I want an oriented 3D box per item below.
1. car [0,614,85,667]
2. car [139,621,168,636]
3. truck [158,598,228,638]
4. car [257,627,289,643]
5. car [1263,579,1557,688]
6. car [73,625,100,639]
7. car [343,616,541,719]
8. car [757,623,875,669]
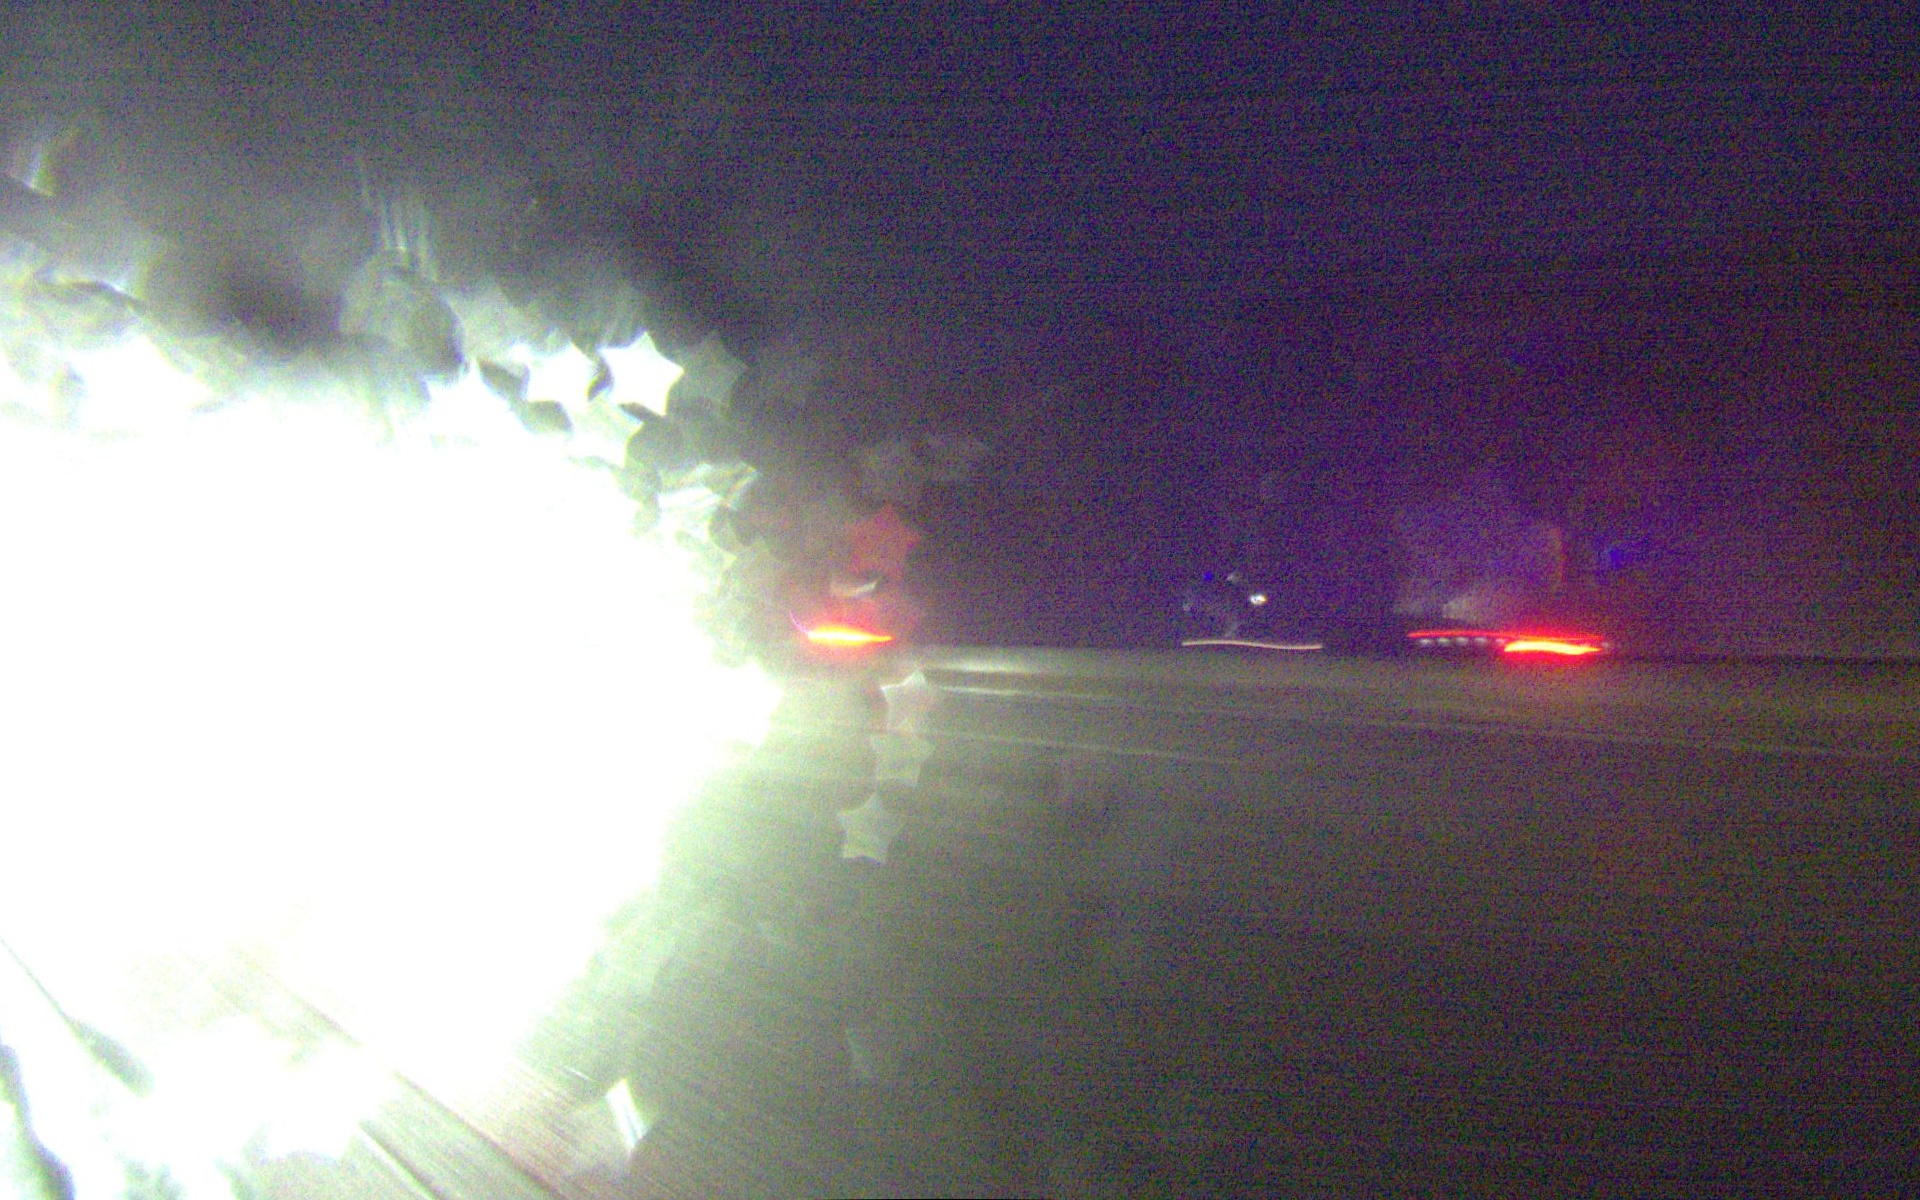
[{"bbox_3d":[-32.234,1.401,35.295,4.913,1.677,1.935,-2,-1,41],"label":"car"},{"bbox_3d":[-83.596,2.959,104.906,3.931,1.457,1.624,-1,0,41],"label":"car"},{"bbox_3d":[-93.445,2.203,123.132,17.592,4.593,3.374,-1,0,42],"label":"truck"},{"bbox_3d":[-67.585,3.441,99.557,3.931,1.457,1.624,-1,0,41],"label":"car"},{"bbox_3d":[8.007,0.555,18.250,4.506,1.737,1.814,-1,0,41],"label":"car"},{"bbox_3d":[-94.265,3.442,109.194,3.813,1.515,1.661,-1,0,41],"label":"car"},{"bbox_3d":[-8.653,1.012,16.736,4.247,1.441,1.638,-1,0,44],"label":"car"},{"bbox_3d":[-5.111,1.583,35.581,4.323,1.481,1.673,-1,0,41],"label":"car"}]
